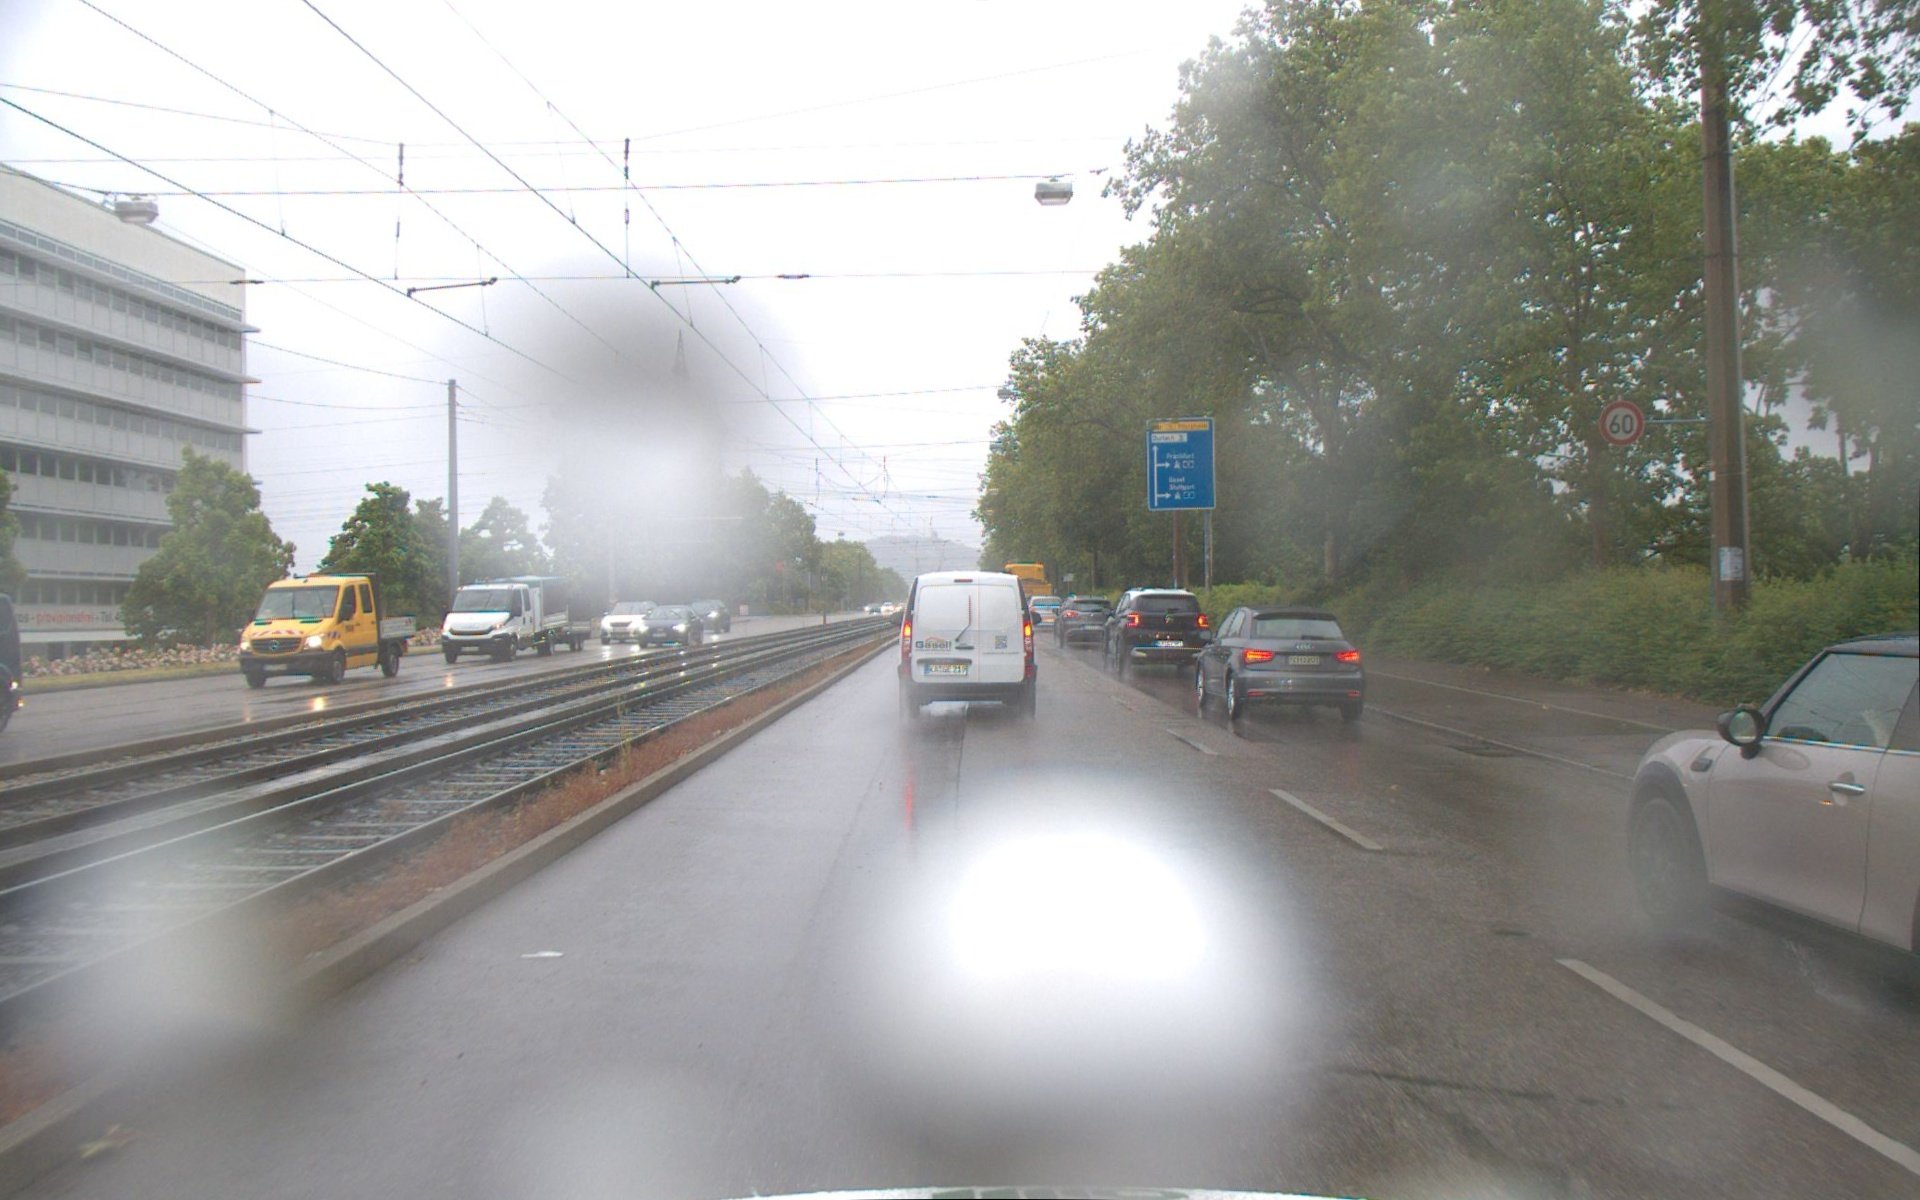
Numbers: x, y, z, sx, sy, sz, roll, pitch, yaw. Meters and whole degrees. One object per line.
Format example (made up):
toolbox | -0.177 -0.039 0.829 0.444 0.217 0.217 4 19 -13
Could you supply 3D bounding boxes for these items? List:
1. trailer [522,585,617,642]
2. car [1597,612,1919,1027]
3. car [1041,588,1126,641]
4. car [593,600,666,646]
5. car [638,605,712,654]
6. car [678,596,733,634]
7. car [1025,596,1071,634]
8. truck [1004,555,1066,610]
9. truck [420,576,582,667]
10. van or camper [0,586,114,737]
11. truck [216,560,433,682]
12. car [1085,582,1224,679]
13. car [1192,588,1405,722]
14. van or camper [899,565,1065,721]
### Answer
trailer | -13.198 0.424 56.126 2.075 1.824 3.838 1 0 3
car | 4.217 0.799 6.655 1.755 1.439 3.853 2 -1 -1
car | 3.522 0.386 47.729 1.783 1.438 3.773 0 1 -6
car | -13.210 0.893 66.349 1.734 1.712 4.691 1 0 3
car | -10.156 1.021 59.232 1.781 1.651 4.536 -1 0 1
car | -12.979 0.746 84.630 1.952 1.751 4.882 -2 0 1
car | 3.569 0.594 67.516 1.780 1.438 3.779 0 1 1
truck | 3.918 -0.910 88.049 3.049 2.821 6.329 0 0 0
truck | -13.677 0.582 49.889 2.384 2.501 7.222 1 0 4
van or camper | -14.250 0.833 22.543 2.257 2.049 5.688 1 0 3
truck | -14.219 0.434 37.524 2.180 2.505 6.070 1 0 4
car | 3.744 0.532 32.647 1.862 1.746 4.722 0 1 -4
car | 4.312 0.642 21.683 1.928 1.555 3.990 0 1 -1
van or camper | 0.201 0.464 21.562 1.953 1.815 3.999 1 1 -2
